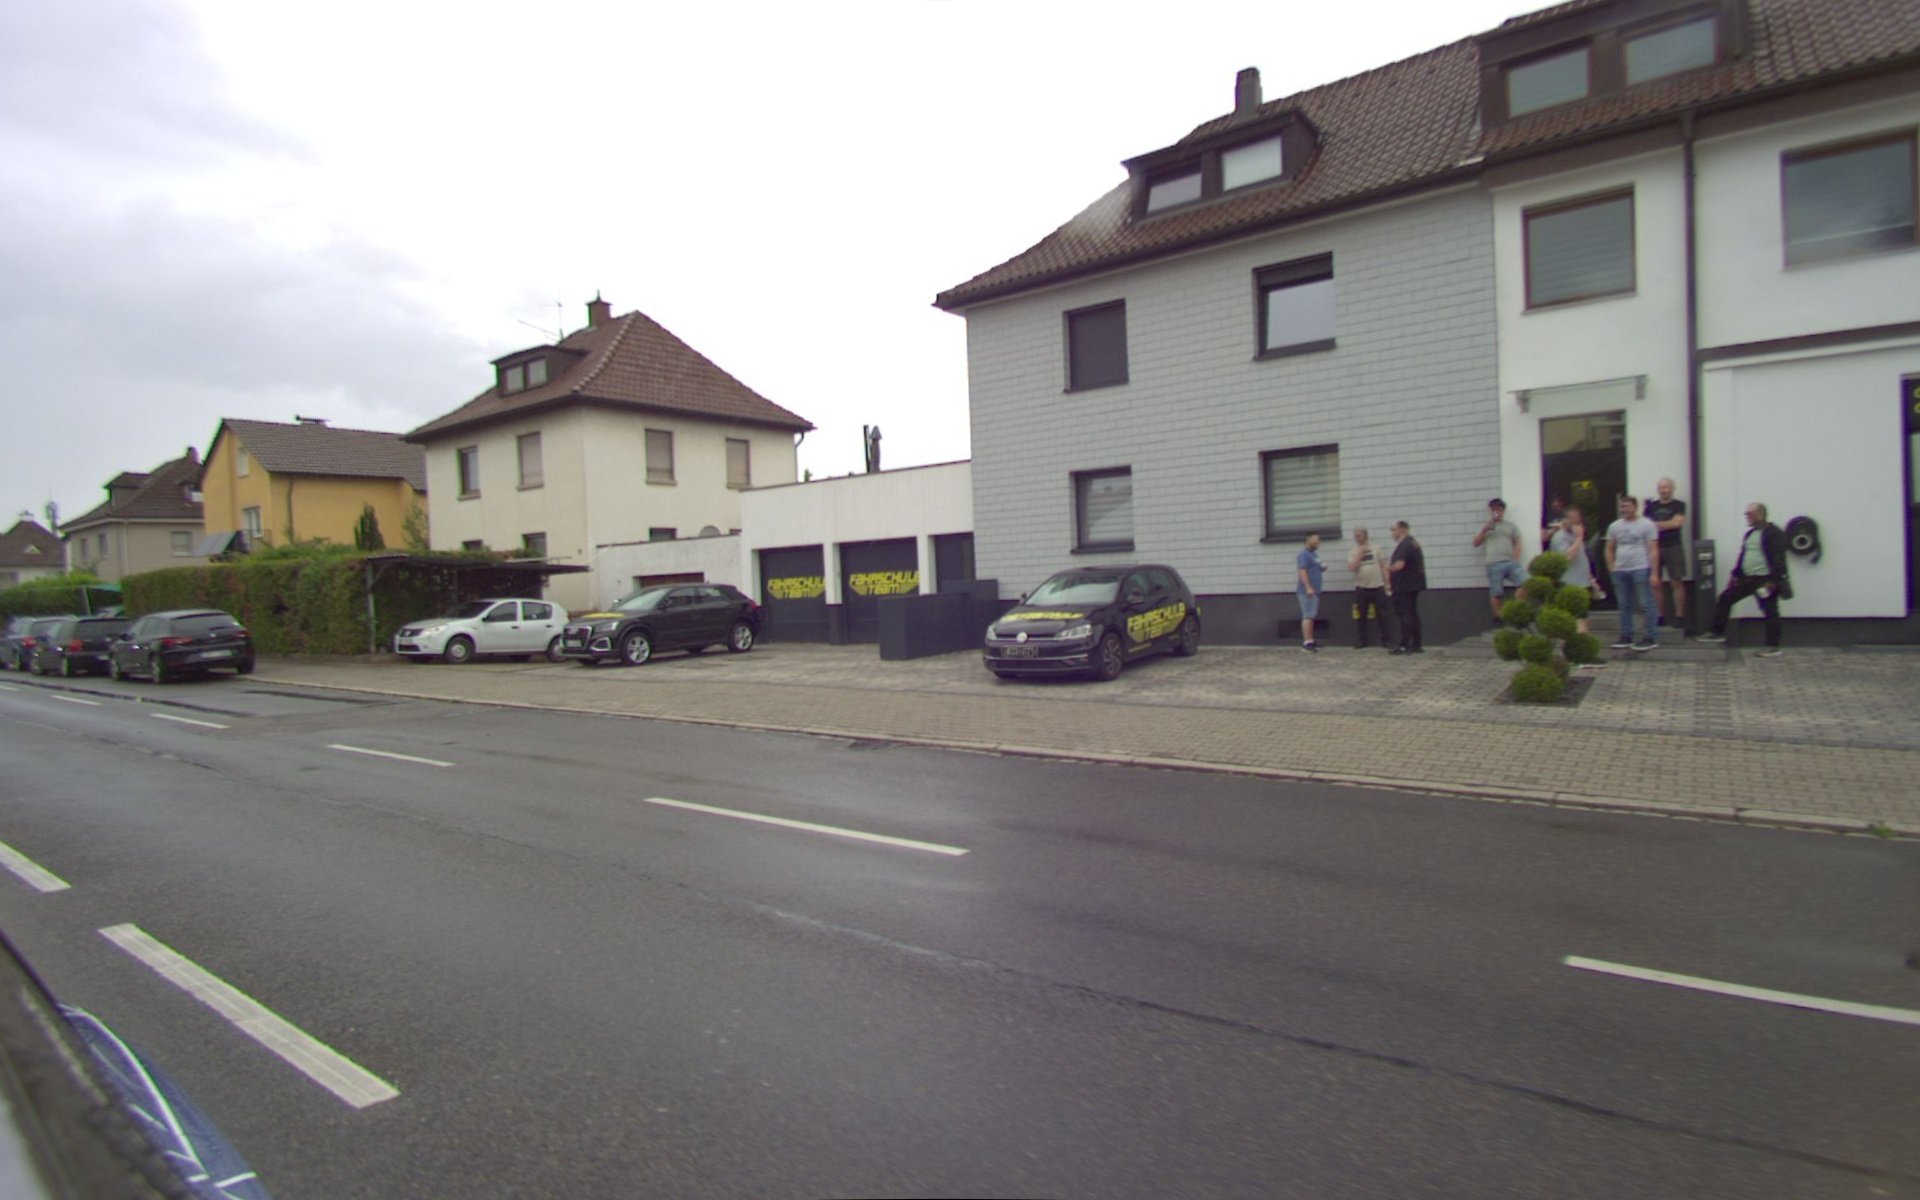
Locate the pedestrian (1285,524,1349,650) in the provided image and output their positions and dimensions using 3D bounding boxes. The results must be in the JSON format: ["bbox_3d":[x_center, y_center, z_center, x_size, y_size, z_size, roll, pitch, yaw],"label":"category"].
[{"bbox_3d":[5.153,-0.187,14.602,0.688,1.765,0.442,-1,4,39],"label":"pedestrian"}]

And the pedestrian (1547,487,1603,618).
[{"bbox_3d":[8.170,-0.632,13.430,0.550,1.682,0.568,-2,4,36],"label":"pedestrian"}]

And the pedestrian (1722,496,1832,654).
[{"bbox_3d":[9.193,-0.293,11.396,0.664,1.682,0.693,-5,3,-22],"label":"pedestrian"}]

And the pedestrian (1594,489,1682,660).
[{"bbox_3d":[7.803,-0.305,11.641,0.686,1.880,0.725,-1,4,43],"label":"pedestrian"}]

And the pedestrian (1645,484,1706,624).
[{"bbox_3d":[8.796,-0.565,12.443,0.512,1.682,0.510,-1,4,44],"label":"pedestrian"}]

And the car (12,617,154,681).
[{"bbox_3d":[-21.849,1.174,25.178,3.991,1.426,1.789,-1,0,35],"label":"car"}]

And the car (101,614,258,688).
[{"bbox_3d":[-16.914,1.054,21.874,3.995,1.426,1.787,-1,0,39],"label":"car"}]

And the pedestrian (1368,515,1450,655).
[{"bbox_3d":[6.006,-0.205,13.557,0.642,1.800,0.649,-5,1,-28],"label":"pedestrian"}]

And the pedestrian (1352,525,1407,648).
[{"bbox_3d":[6.059,-0.198,14.618,0.561,1.720,0.581,-2,4,36],"label":"pedestrian"}]

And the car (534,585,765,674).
[{"bbox_3d":[-6.115,0.523,20.331,1.882,1.430,4.060,-1,2,38],"label":"car"}]

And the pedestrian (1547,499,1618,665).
[{"bbox_3d":[7.052,-0.212,11.462,0.539,1.801,0.662,-1,4,42],"label":"pedestrian"}]

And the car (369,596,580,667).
[{"bbox_3d":[-11.139,0.788,23.493,1.834,1.495,4.068,-2,-4,31],"label":"car"}]

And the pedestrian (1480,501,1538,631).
[{"bbox_3d":[7.370,-0.457,13.581,0.574,1.682,0.577,-2,4,36],"label":"pedestrian"}]

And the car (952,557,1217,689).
[{"bbox_3d":[1.872,0.228,14.144,1.882,1.430,3.950,-1,3,38],"label":"car"}]

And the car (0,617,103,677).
[{"bbox_3d":[-25.925,1.280,28.523,3.991,1.525,1.789,-1,0,35],"label":"car"}]
